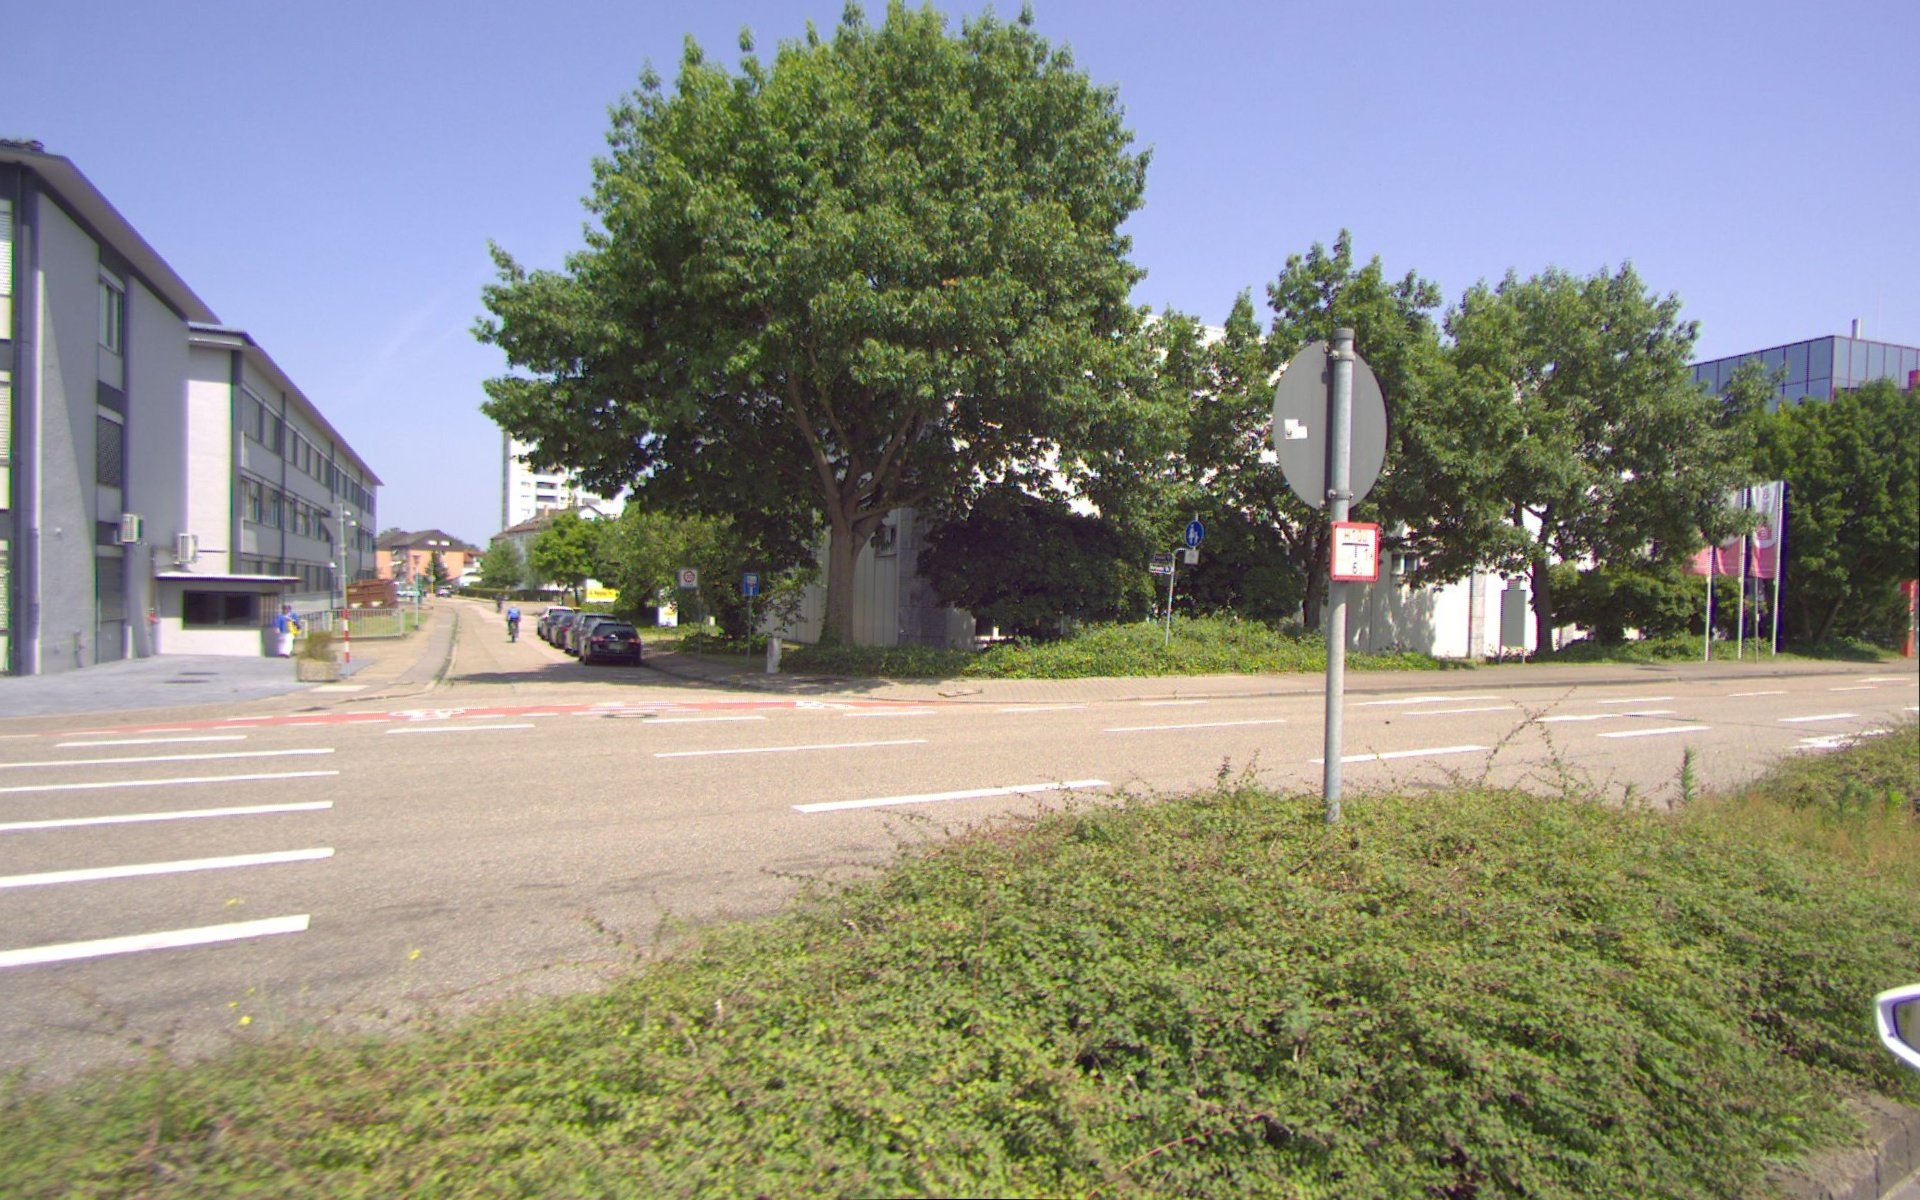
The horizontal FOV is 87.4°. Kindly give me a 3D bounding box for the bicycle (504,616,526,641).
[{"bbox_3d":[-20.715,1.317,46.725,0.773,1.128,2.166,2,-1,-27],"label":"bicycle"}]

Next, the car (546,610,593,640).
[{"bbox_3d":[-18.801,1.190,48.265,1.789,1.389,3.974,2,-1,-26],"label":"car"}]

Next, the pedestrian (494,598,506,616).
[{"bbox_3d":[-39.483,0.622,86.203,0.694,1.538,0.648,2,-1,-44],"label":"pedestrian"}]

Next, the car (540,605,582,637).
[{"bbox_3d":[-21.408,1.108,53.778,1.696,1.595,3.972,2,-1,-27],"label":"car"}]

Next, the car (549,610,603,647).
[{"bbox_3d":[-16.764,1.214,43.746,1.696,1.550,3.635,1,-1,-29],"label":"car"}]

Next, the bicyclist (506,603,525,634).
[{"bbox_3d":[-20.684,0.849,46.702,0.736,1.428,0.854,1,-1,-28],"label":"bicyclist"}]

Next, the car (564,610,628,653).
[{"bbox_3d":[-14.084,1.180,38.773,1.696,1.550,3.969,2,-1,-29],"label":"car"}]

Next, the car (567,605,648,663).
[{"bbox_3d":[-11.737,1.084,33.271,1.896,1.617,3.969,2,1,-28],"label":"car"}]

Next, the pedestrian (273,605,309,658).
[{"bbox_3d":[-21.006,0.986,31.540,0.852,1.646,0.677,2,-1,-39],"label":"pedestrian"}]
